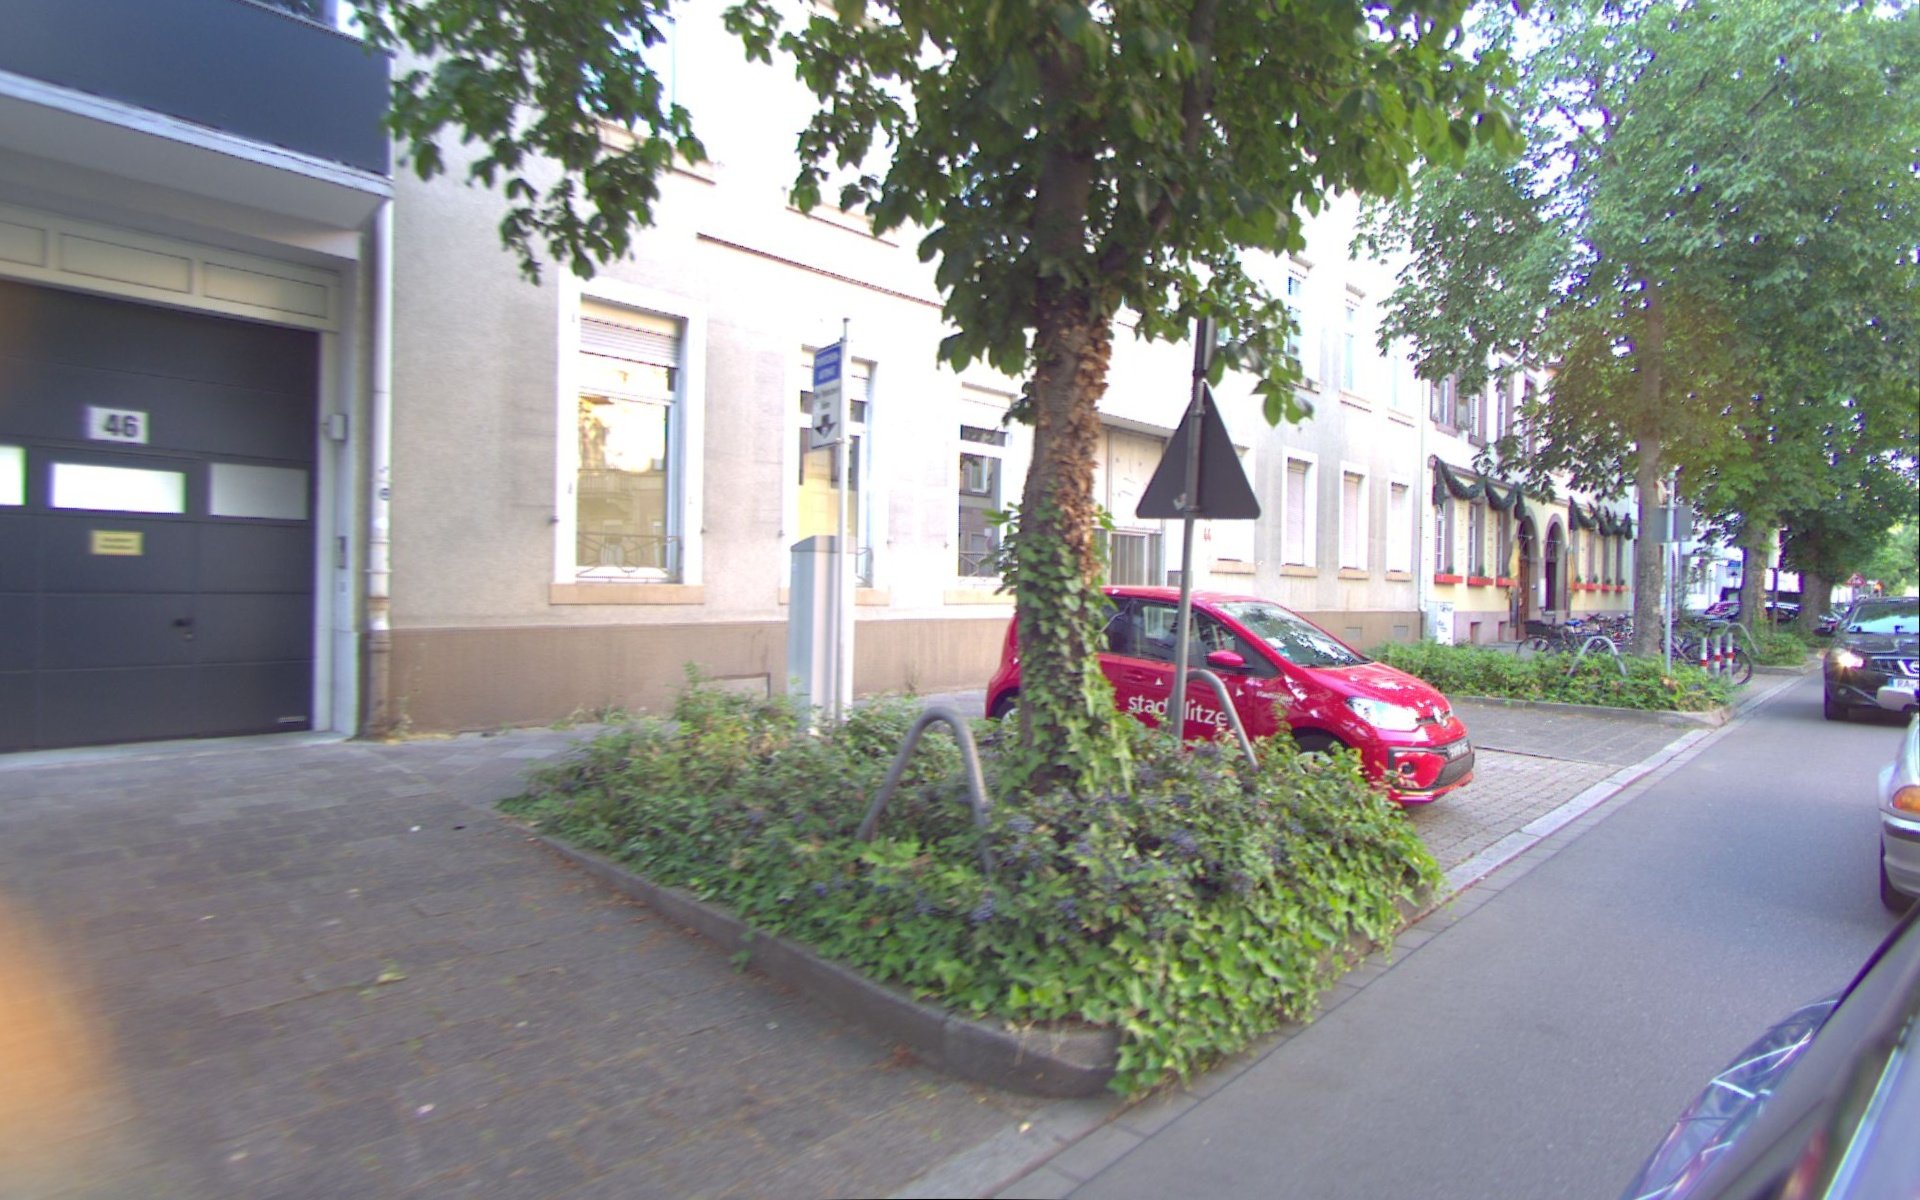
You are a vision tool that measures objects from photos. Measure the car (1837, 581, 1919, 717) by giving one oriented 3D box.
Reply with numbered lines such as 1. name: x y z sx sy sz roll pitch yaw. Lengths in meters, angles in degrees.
1. car: 12.670 0.574 12.982 3.934 1.571 1.803 0 1 -44

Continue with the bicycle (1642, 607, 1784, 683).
1. bicycle: 13.703 0.783 18.461 2.019 1.242 0.528 2 1 40

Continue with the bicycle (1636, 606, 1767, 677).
1. bicycle: 14.361 0.768 19.641 2.019 1.242 0.528 2 1 40

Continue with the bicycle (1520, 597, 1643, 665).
1. bicycle: 12.310 0.587 20.095 2.018 1.242 0.528 2 1 38

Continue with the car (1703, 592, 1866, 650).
1. car: 28.282 0.665 34.802 4.234 1.761 1.714 2 1 44

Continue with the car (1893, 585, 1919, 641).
1. car: 28.766 0.382 29.707 3.934 1.571 1.803 0 1 -44

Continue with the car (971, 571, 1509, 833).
1. car: 1.955 0.550 7.703 3.610 1.495 1.639 2 1 44

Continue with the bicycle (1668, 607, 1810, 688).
1. bicycle: 13.176 0.783 17.185 1.836 1.242 0.529 2 1 34

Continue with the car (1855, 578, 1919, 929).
1. car: 6.084 0.652 5.098 4.356 1.460 1.711 0 1 -40

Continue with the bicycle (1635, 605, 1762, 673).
1. bicycle: 14.856 0.758 20.384 2.019 1.242 0.528 2 1 40

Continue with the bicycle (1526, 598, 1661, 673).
1. bicycle: 11.428 0.610 18.309 2.015 1.242 0.529 2 1 34

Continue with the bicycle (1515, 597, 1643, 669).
1. bicycle: 11.660 0.600 19.114 2.015 1.242 0.529 2 1 34
